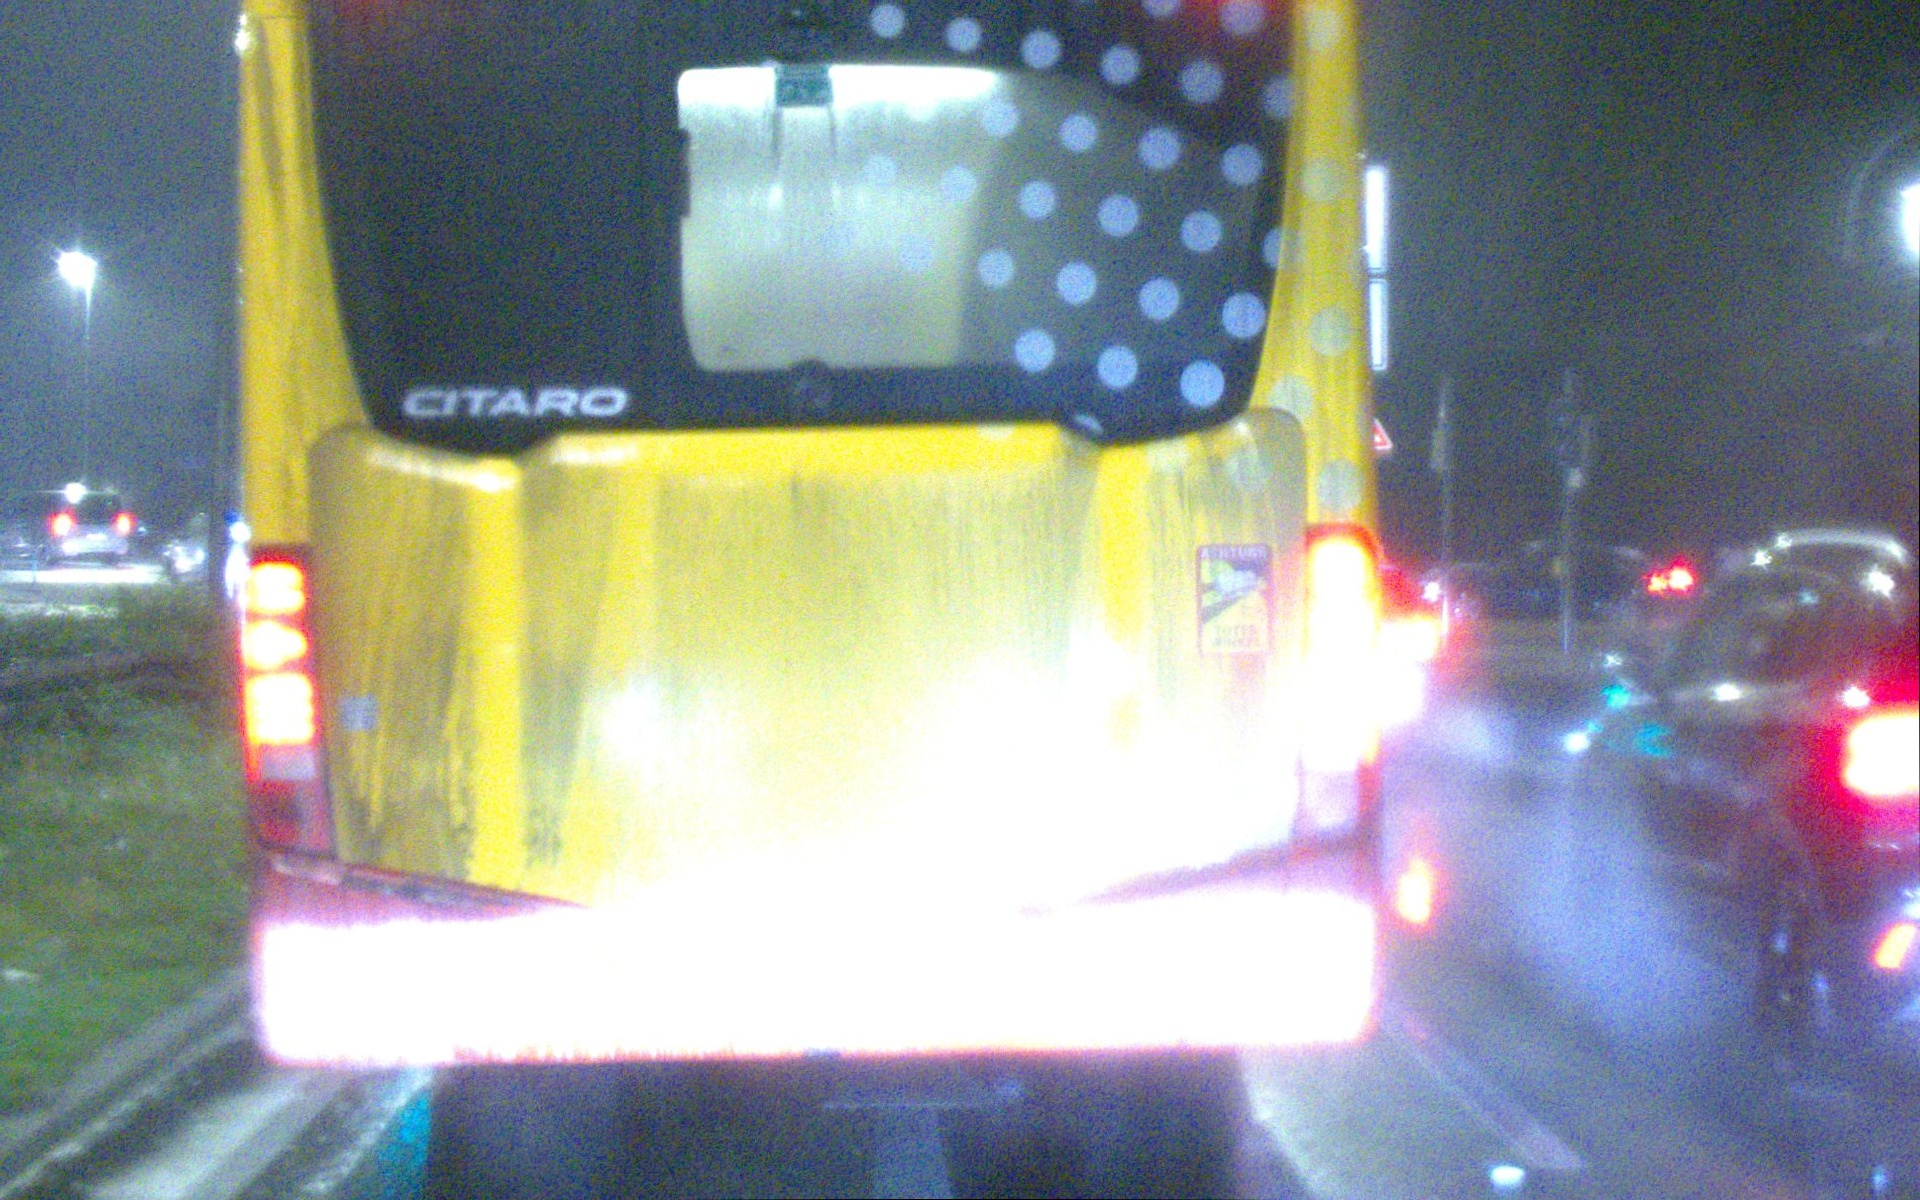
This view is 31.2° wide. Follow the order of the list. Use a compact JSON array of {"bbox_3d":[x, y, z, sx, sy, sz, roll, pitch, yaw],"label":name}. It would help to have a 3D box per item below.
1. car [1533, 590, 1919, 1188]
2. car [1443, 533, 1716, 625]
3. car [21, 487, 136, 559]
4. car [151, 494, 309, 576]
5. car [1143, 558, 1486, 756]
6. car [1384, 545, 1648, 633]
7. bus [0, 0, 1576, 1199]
[{"bbox_3d":[3.038,0.741,10.733,1.677,1.516,3.961,1,0,-2],"label":"car"},{"bbox_3d":[11.216,-0.388,62.355,4.482,1.513,1.857,1,2,-7],"label":"car"},{"bbox_3d":[-22.048,-1.907,85.931,1.993,1.715,4.001,1,0,-26],"label":"car"},{"bbox_3d":[-15.392,-1.350,72.374,2.089,1.638,3.730,1,0,-32],"label":"car"},{"bbox_3d":[2.542,0.379,25.558,1.686,1.326,3.961,1,0,-7],"label":"car"},{"bbox_3d":[9.376,-0.191,58.088,4.041,1.341,1.748,1,2,-7],"label":"car"},{"bbox_3d":[-0.707,-0.297,11.806,3.284,3.040,9.546,0,2,-4],"label":"bus"}]
